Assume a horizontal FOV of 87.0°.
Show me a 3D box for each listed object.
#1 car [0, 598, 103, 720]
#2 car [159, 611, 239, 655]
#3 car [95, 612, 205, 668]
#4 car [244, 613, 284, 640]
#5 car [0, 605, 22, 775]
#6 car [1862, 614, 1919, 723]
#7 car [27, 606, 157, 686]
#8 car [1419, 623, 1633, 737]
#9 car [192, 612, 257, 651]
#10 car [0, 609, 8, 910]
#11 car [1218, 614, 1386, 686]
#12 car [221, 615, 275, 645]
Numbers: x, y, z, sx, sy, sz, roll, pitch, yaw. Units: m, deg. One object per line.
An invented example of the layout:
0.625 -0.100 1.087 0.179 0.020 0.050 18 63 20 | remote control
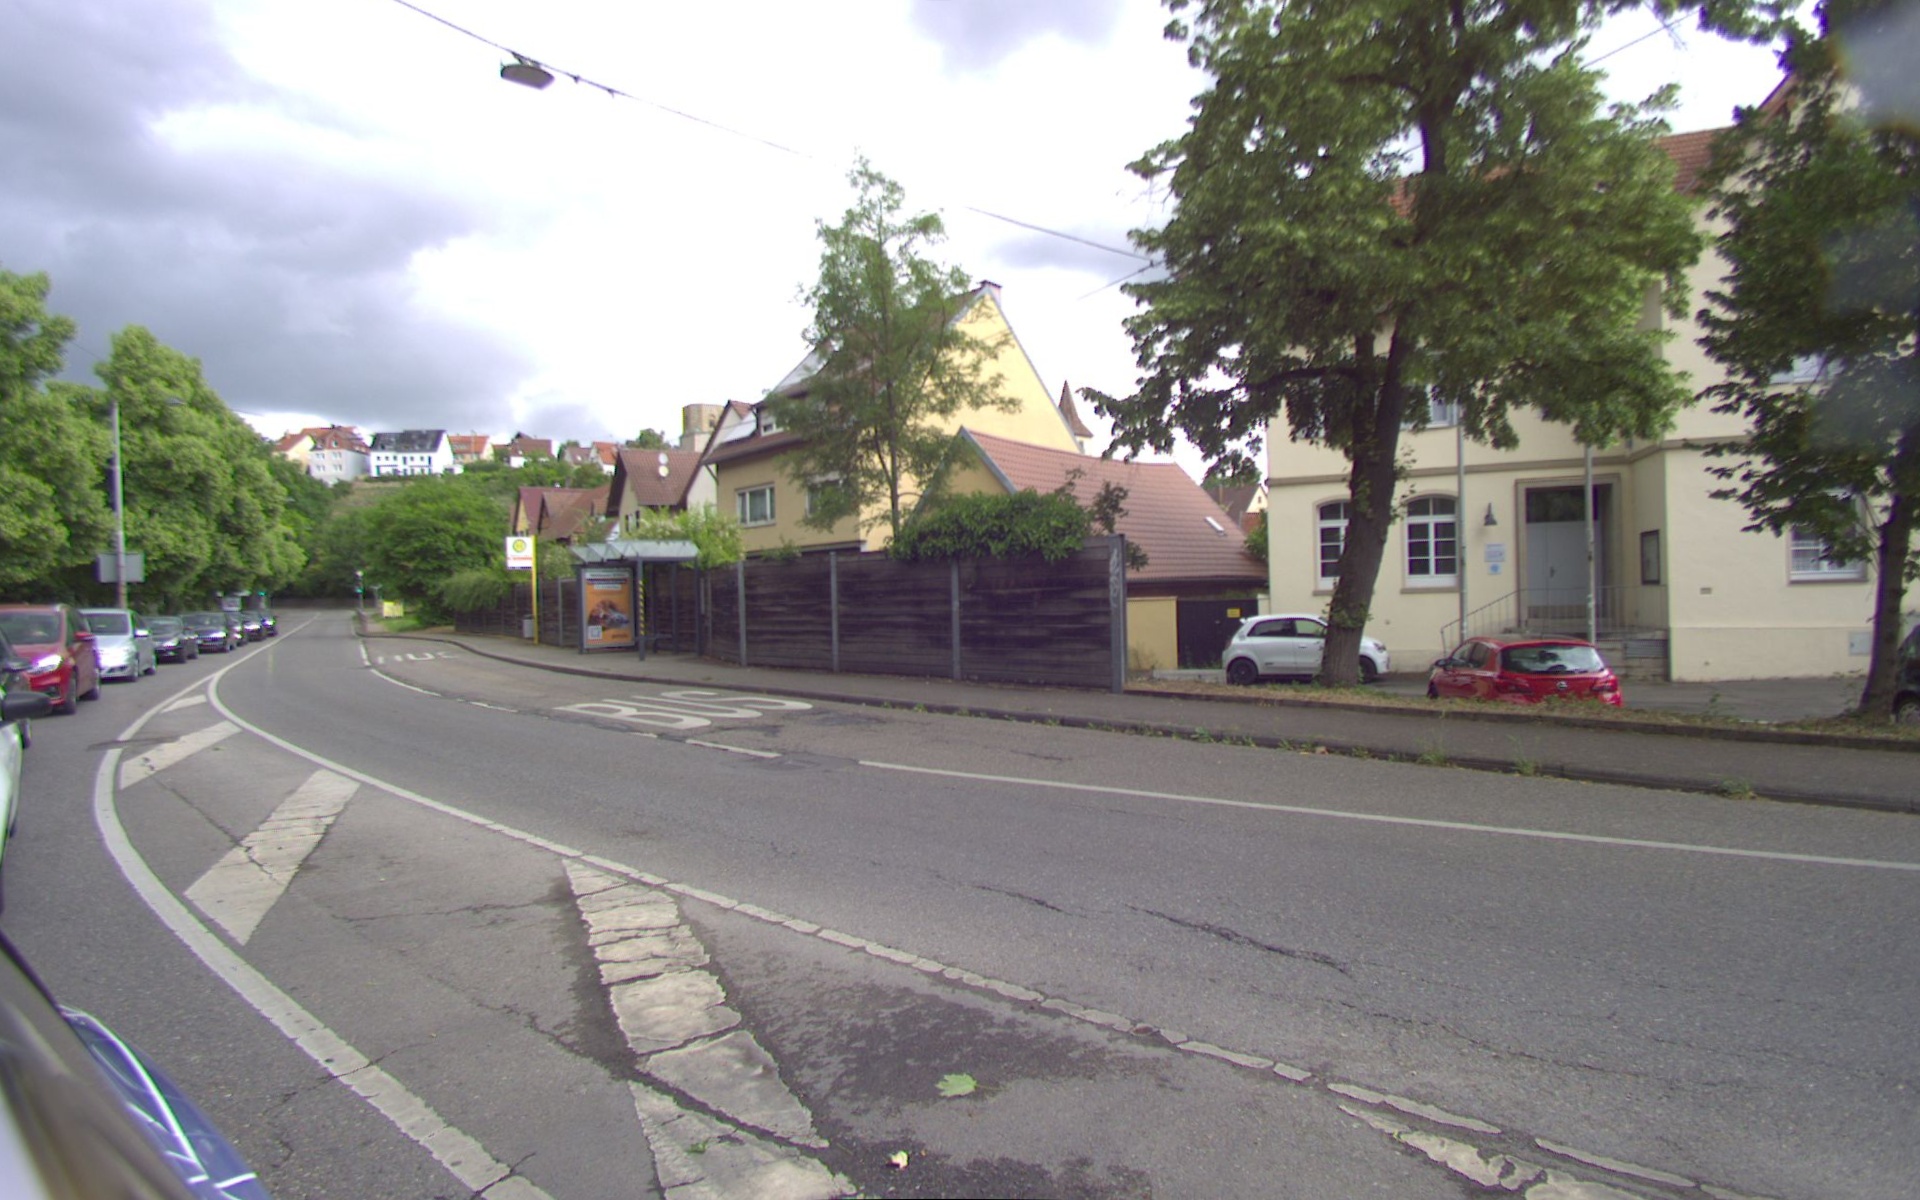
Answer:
-14.405 0.827 15.500 1.649 1.654 4.110 -1 0 -36 | car
-26.650 1.120 35.566 1.669 1.422 3.994 -1 0 -29 | car
-23.602 1.107 29.629 1.823 1.468 4.013 -1 0 -29 | car
-35.893 1.346 52.240 1.396 1.259 3.306 -1 0 -29 | car
-10.552 0.833 10.074 1.705 1.532 4.005 -1 0 -42 | car
12.567 0.852 11.680 1.465 1.320 3.394 -1 0 6 | car
-19.015 0.933 22.329 1.755 1.580 4.010 -1 0 -35 | car
8.100 1.075 14.854 1.582 1.363 3.619 -1 0 10 | car
-30.045 1.260 41.437 1.679 1.457 3.879 -1 0 -29 | car
-6.166 0.818 5.349 1.604 1.519 4.004 -1 0 -43 | car
7.689 1.107 22.918 3.454 1.503 1.643 -1 0 20 | car
-32.754 1.355 46.607 1.617 1.278 3.637 -1 0 -29 | car
